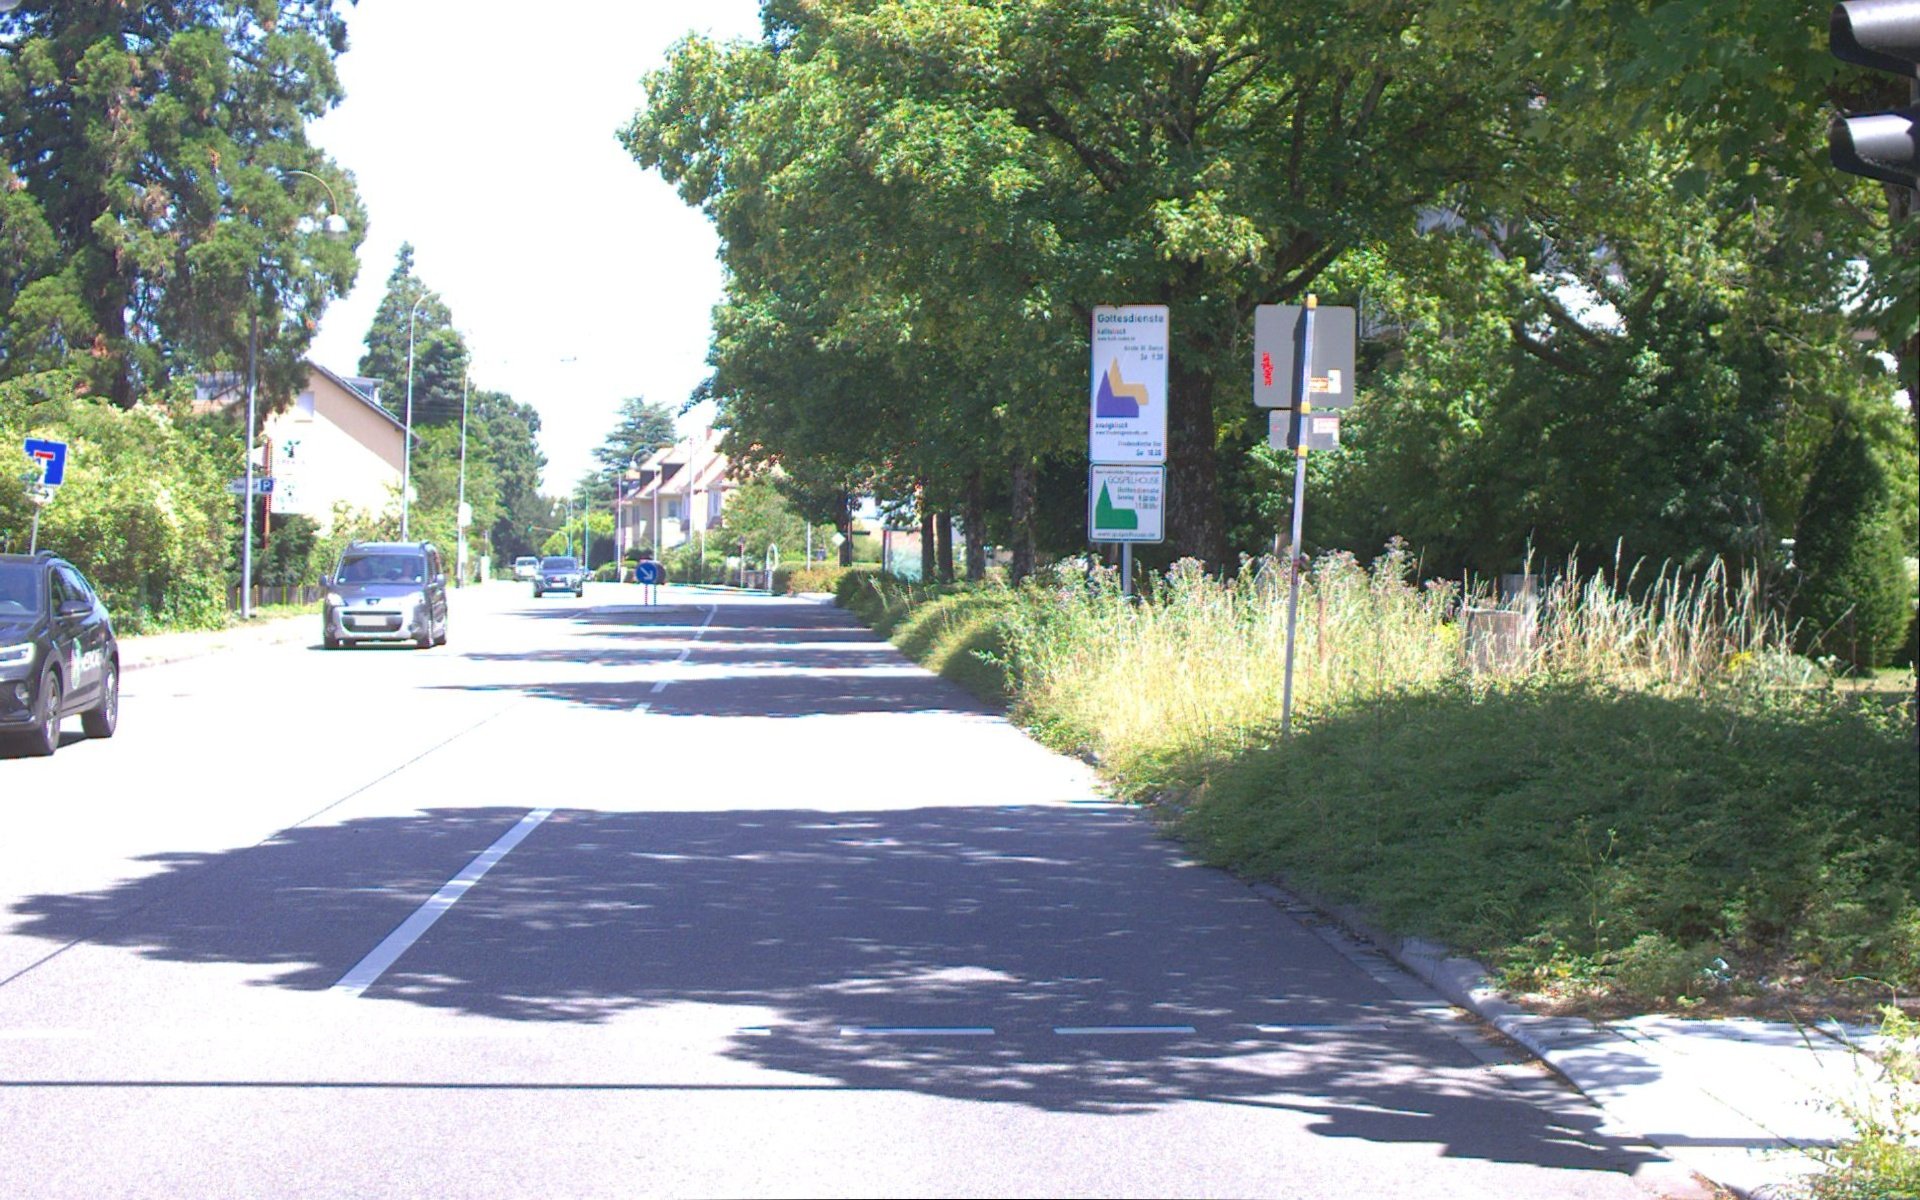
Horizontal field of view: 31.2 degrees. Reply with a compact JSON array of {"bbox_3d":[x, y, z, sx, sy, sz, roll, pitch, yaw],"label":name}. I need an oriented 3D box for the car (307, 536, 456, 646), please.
[{"bbox_3d":[-9.662,-0.180,57.718,1.811,1.756,4.570,1,1,-1],"label":"car"}]

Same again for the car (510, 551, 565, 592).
[{"bbox_3d":[-16.267,-1.117,132.521,1.793,1.531,4.316,0,1,-3],"label":"car"}]

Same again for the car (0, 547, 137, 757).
[{"bbox_3d":[-7.634,0.344,26.566,1.869,1.501,4.053,0,1,-5],"label":"car"}]

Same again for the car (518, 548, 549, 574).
[{"bbox_3d":[-28.697,-2.634,231.381,1.680,1.678,4.000,0,1,-2],"label":"car"}]
